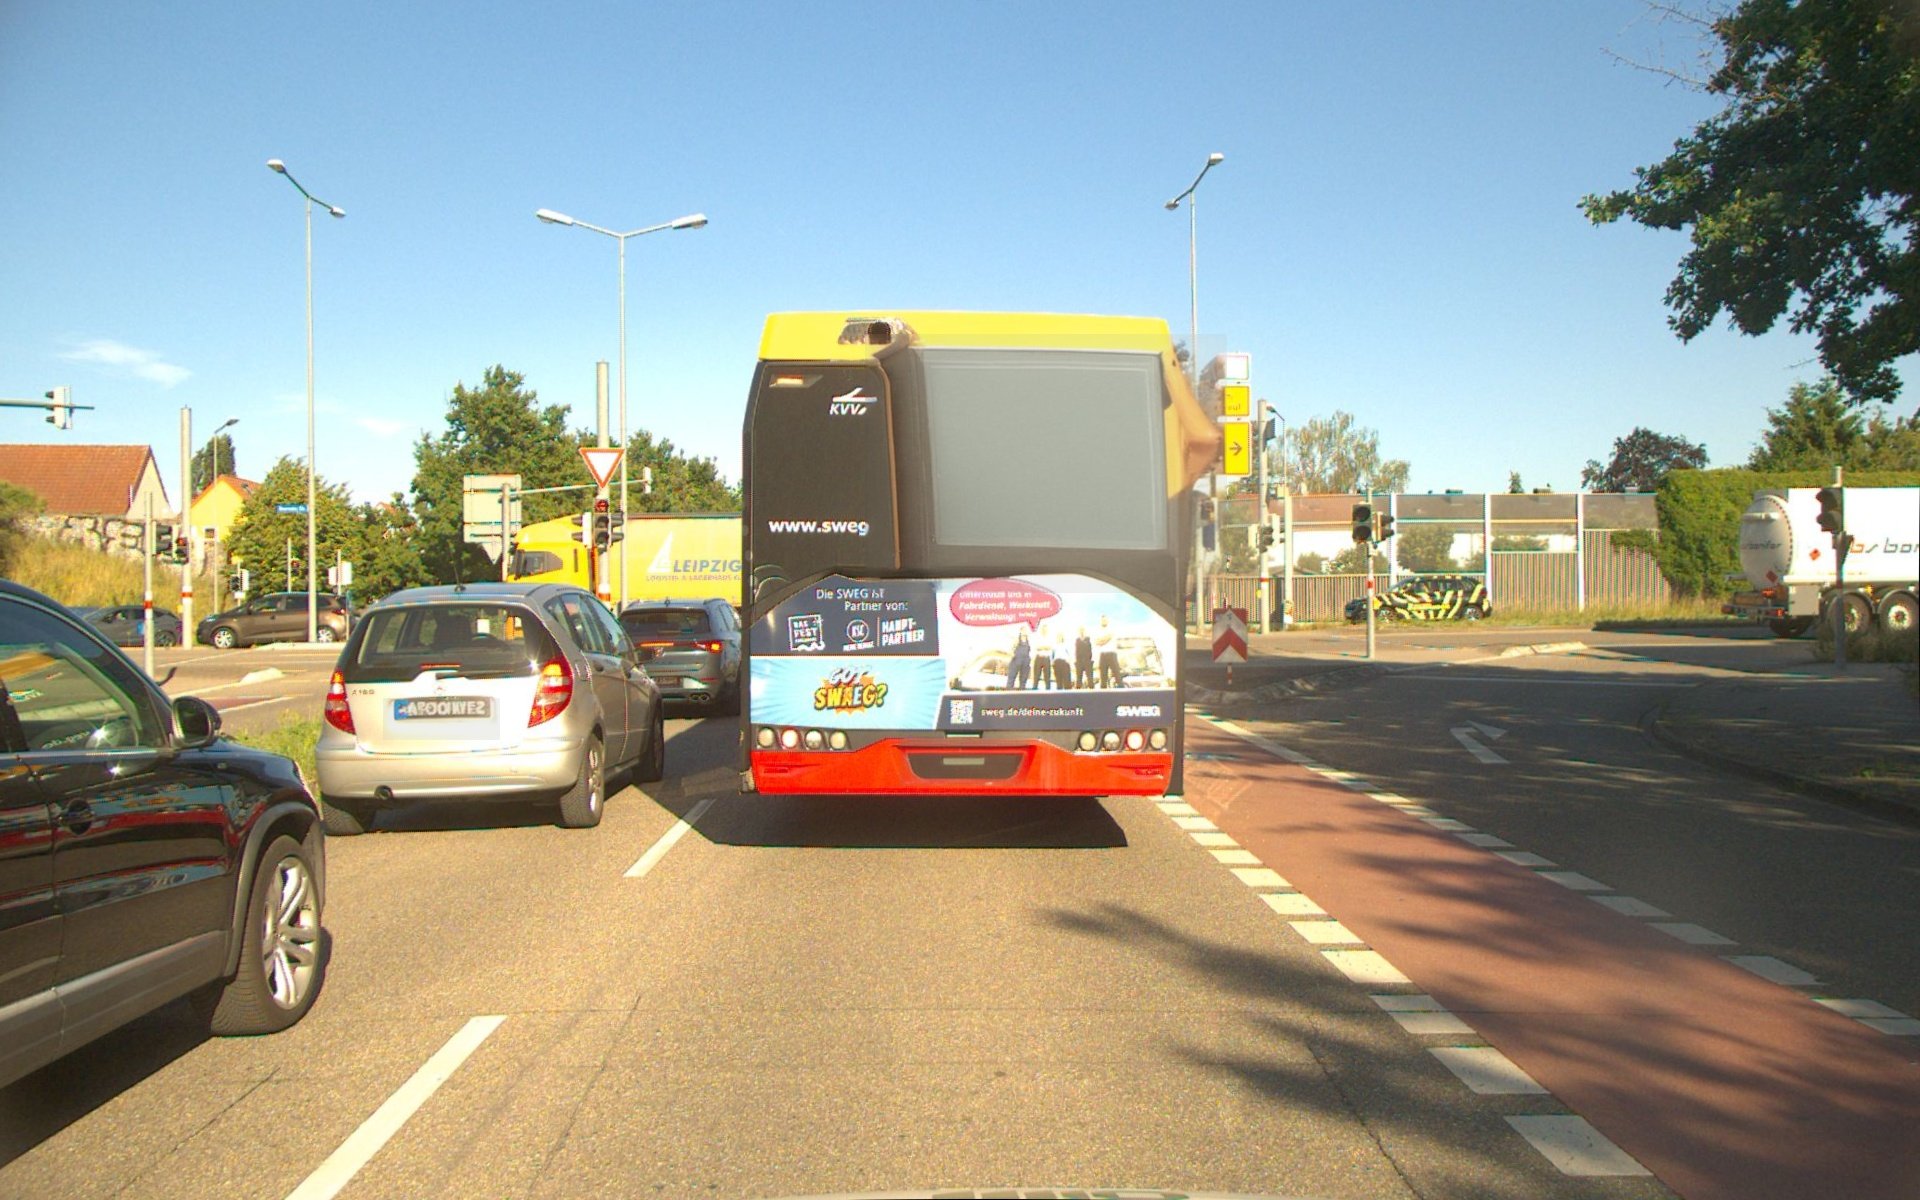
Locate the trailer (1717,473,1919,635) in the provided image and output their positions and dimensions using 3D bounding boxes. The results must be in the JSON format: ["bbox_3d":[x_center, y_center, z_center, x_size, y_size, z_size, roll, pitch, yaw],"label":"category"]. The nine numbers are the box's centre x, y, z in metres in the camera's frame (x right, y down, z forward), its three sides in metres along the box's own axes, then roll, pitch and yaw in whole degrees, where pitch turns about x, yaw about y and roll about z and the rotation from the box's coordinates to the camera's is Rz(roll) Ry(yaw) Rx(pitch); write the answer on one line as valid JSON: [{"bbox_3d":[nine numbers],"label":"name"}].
[{"bbox_3d":[24.321,-1.109,40.201,11.259,3.761,2.391,0,0,-8],"label":"trailer"}]

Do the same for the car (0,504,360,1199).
[{"bbox_3d":[-3.164,0.655,4.292,1.784,1.703,4.001,-2,-1,-1],"label":"car"}]

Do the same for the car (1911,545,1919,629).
[{"bbox_3d":[16.705,-0.179,25.995,3.355,1.318,1.448,1,-1,-26],"label":"car"}]

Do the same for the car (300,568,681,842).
[{"bbox_3d":[-3.214,0.606,12.161,1.718,1.648,4.033,0,1,-1],"label":"car"}]

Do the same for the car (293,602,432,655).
[{"bbox_3d":[-19.329,0.910,53.610,3.910,1.640,1.693,0,0,-7],"label":"car"}]

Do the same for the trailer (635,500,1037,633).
[{"bbox_3d":[-3.901,-1.076,52.709,12.492,4.100,2.466,0,0,-8],"label":"trailer"}]

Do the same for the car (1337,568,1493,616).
[{"bbox_3d":[13.174,-0.225,47.962,4.078,1.325,1.573,1,-1,-4],"label":"car"}]

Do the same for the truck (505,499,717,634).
[{"bbox_3d":[-10.831,-1.045,51.790,6.277,4.068,2.469,0,0,-8],"label":"truck"}]

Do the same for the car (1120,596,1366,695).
[{"bbox_3d":[4.124,0.635,24.337,3.447,1.325,1.576,1,1,8],"label":"car"}]

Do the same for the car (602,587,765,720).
[{"bbox_3d":[-3.410,0.639,20.952,1.556,1.512,3.680,-1,-1,-2],"label":"car"}]

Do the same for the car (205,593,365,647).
[{"bbox_3d":[-19.230,0.564,47.259,3.911,1.467,1.563,1,-1,-7],"label":"car"}]

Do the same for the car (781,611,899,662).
[{"bbox_3d":[-4.069,1.225,55.790,3.910,1.640,1.693,0,0,-7],"label":"car"}]

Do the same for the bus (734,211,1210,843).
[{"bbox_3d":[-0.021,-0.411,14.946,2.543,3.393,11.981,1,0,-1],"label":"bus"}]
